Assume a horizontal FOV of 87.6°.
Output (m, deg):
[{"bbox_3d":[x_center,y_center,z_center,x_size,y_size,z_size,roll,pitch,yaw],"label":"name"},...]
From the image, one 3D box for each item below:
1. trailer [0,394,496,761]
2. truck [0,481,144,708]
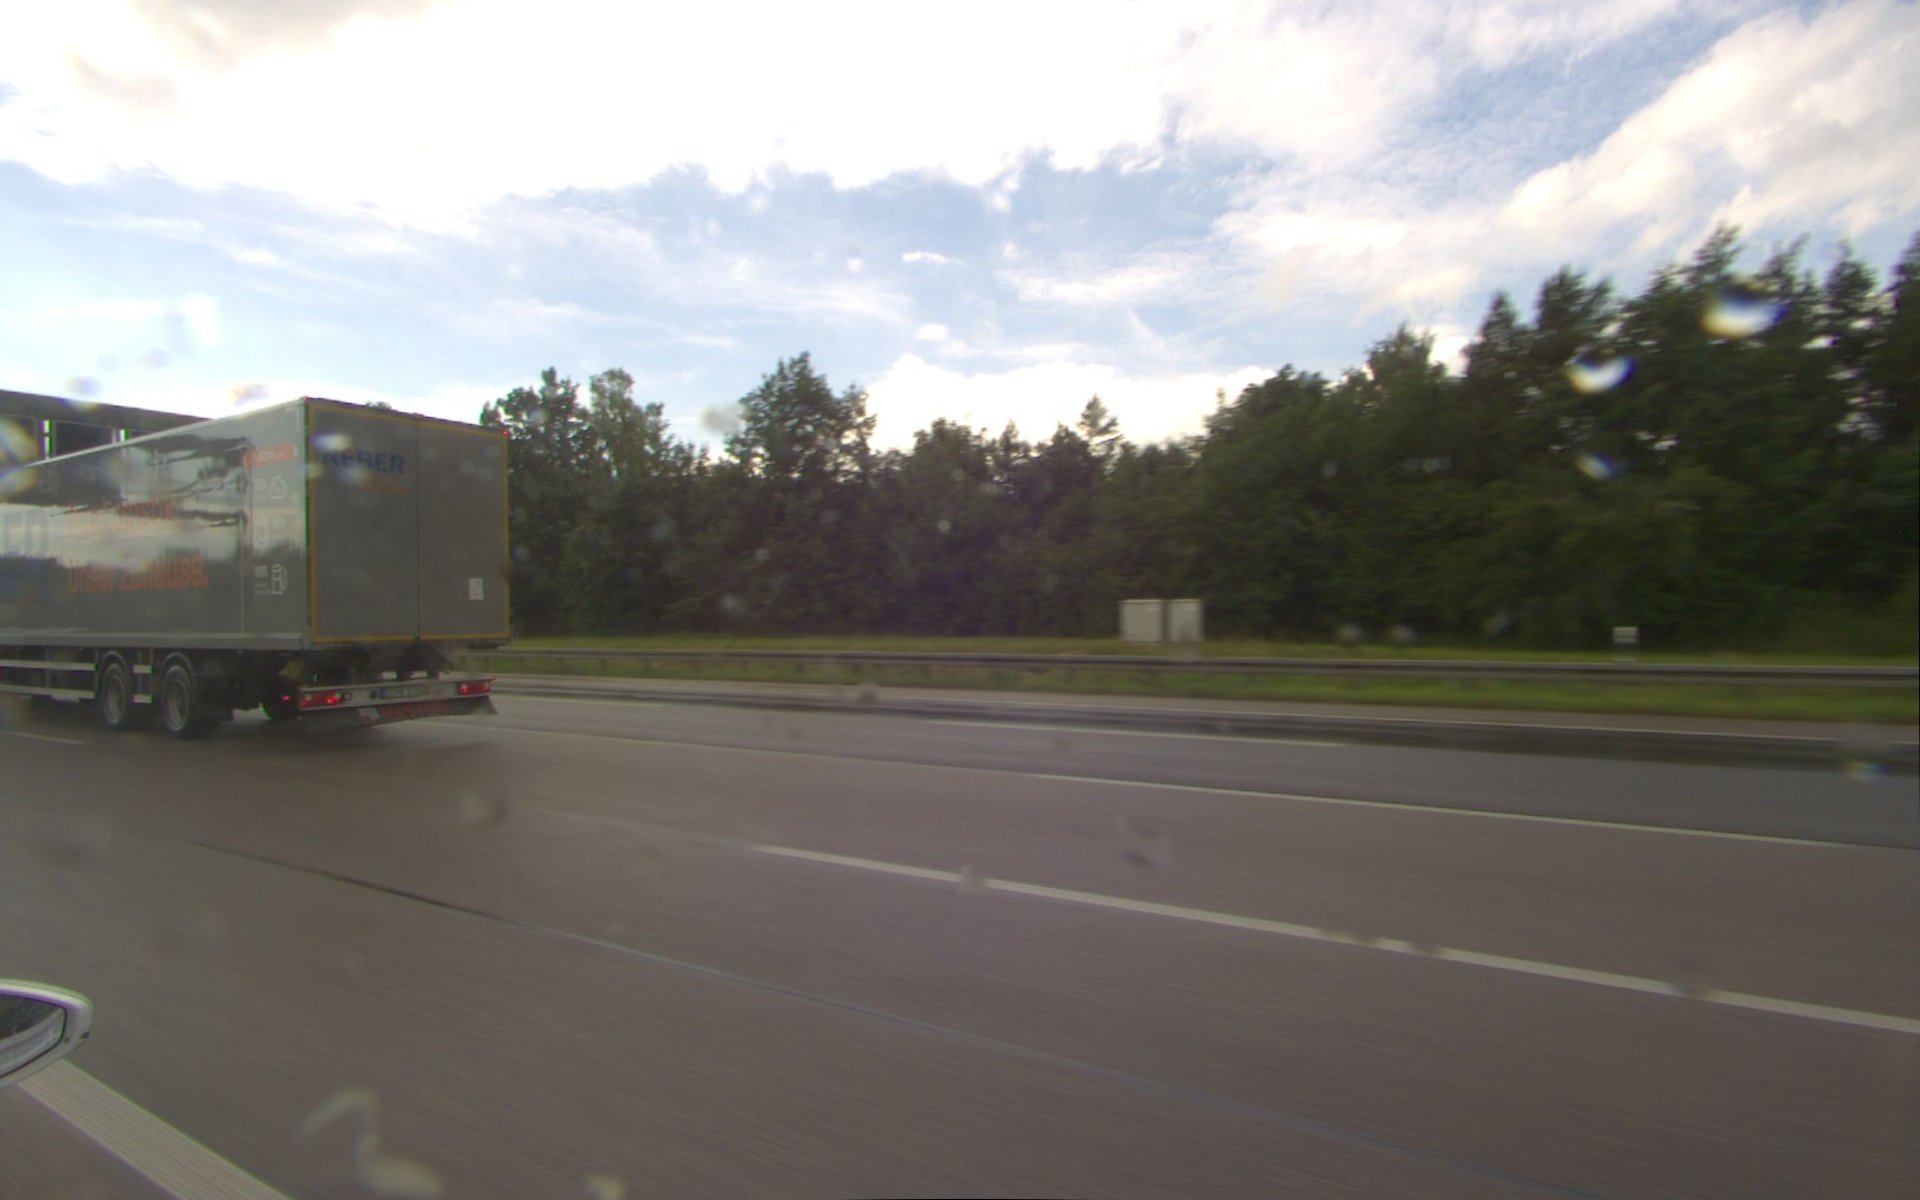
[{"bbox_3d":[-12.225,-0.154,15.590,13.220,4.054,2.319,-1,-1,32],"label":"trailer"},{"bbox_3d":[-18.343,-0.047,19.469,5.315,3.918,2.289,-1,-1,32],"label":"truck"}]
